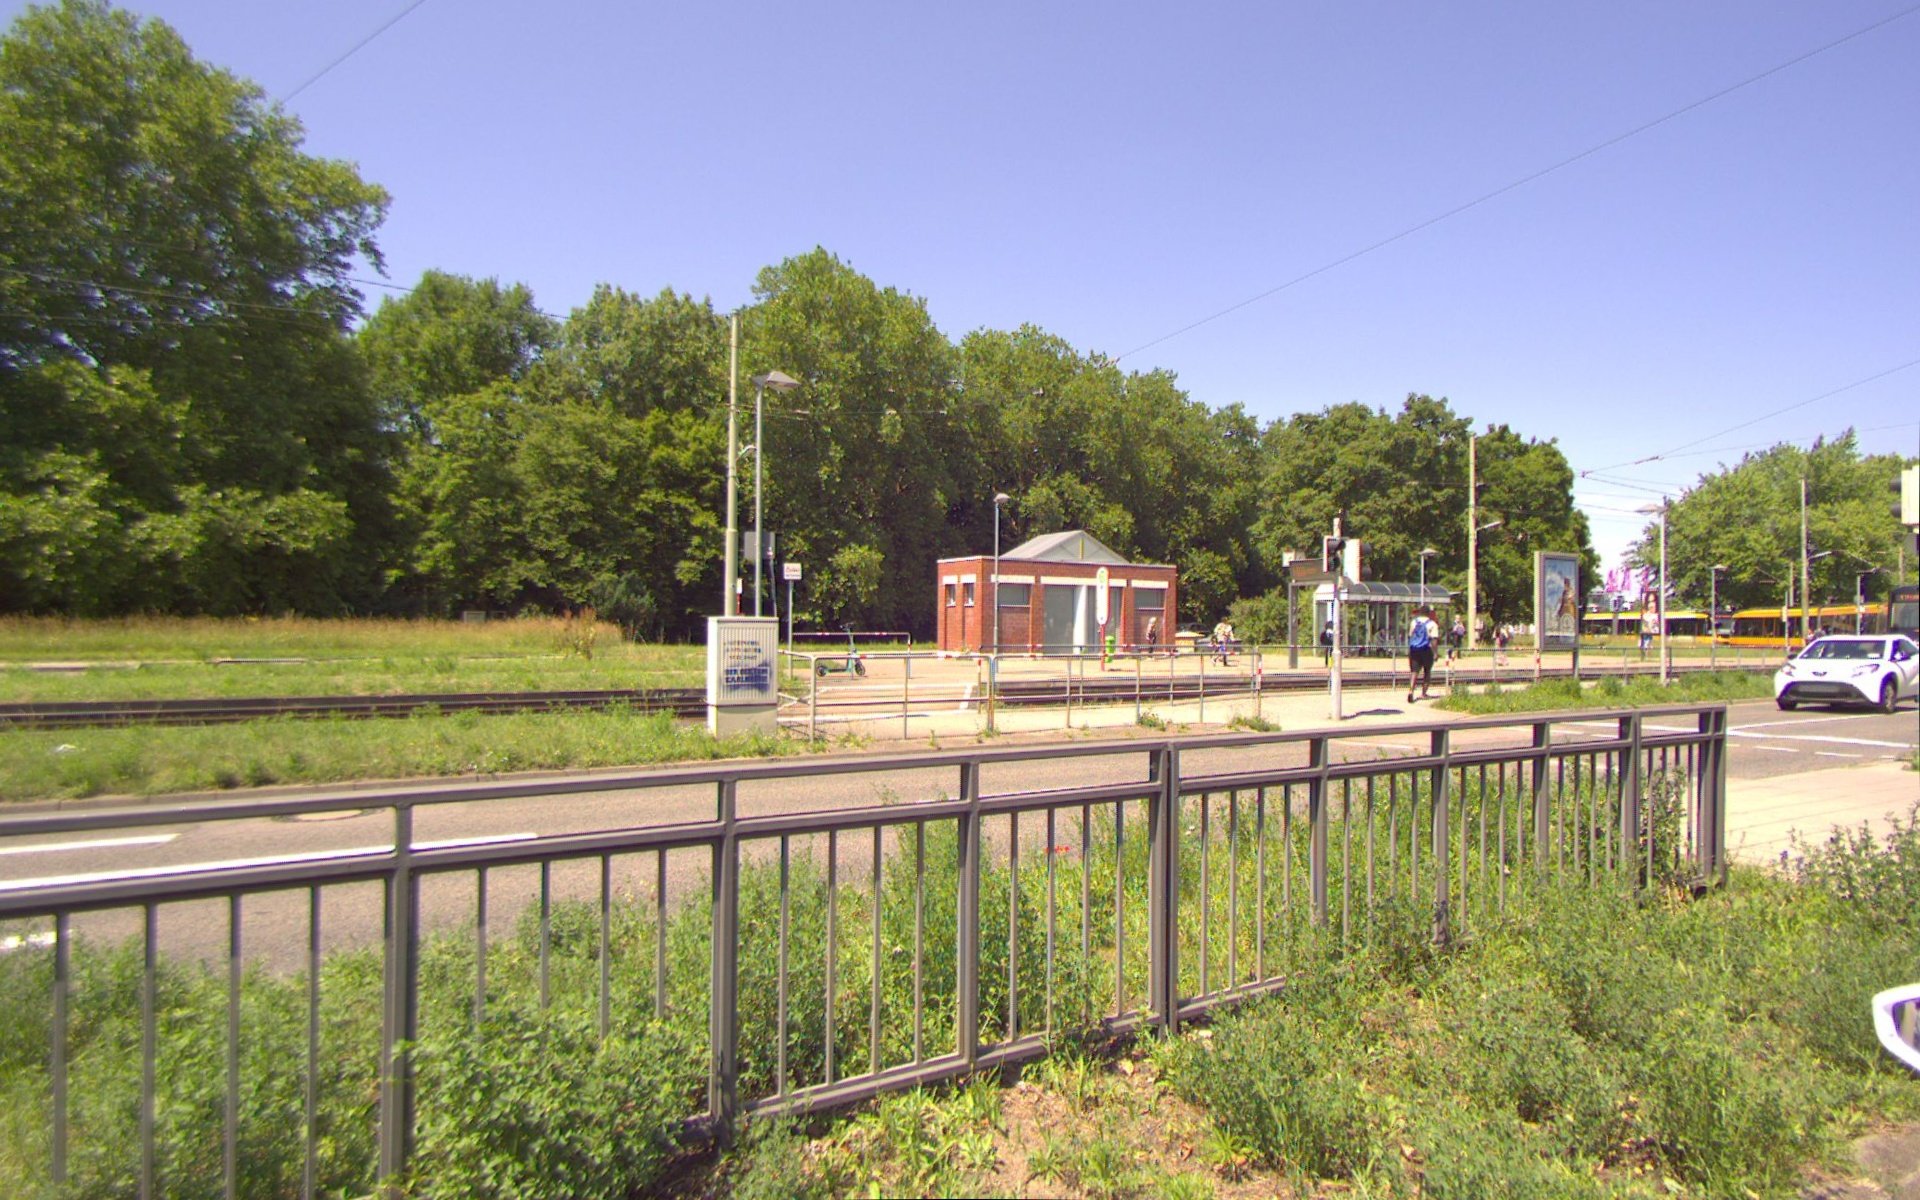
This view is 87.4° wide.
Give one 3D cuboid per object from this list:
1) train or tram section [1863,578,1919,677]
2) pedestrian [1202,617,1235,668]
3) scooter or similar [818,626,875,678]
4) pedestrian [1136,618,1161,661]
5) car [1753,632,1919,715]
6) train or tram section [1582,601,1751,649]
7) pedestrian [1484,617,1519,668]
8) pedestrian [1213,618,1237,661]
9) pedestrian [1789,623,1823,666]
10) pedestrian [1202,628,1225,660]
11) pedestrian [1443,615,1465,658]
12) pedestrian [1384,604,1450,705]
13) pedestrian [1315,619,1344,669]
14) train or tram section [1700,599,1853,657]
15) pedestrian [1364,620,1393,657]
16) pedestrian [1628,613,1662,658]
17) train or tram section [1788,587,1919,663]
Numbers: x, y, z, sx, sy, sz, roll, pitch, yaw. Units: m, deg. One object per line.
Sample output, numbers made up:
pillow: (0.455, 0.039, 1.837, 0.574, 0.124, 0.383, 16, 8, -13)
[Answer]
train or tram section: (49.719, 1.382, 46.886, 29.690, 3.799, 2.943, 1, -1, -31)
pedestrian: (8.364, 1.366, 32.490, 0.799, 1.611, 0.668, 1, -1, -30)
scooter or similar: (-2.648, 1.205, 23.442, 1.217, 1.183, 0.508, 1, -1, -30)
pedestrian: (6.574, 1.378, 35.068, 0.563, 1.499, 0.636, 1, -1, -30)
car: (18.031, 1.423, 20.388, 3.747, 1.514, 1.836, 1, -1, -30)
train or tram section: (65.265, 2.304, 93.899, 3.162, 3.984, 18.504, 1, -1, 1)
pedestrian: (20.020, 1.553, 37.148, 0.832, 1.802, 0.714, -1, 5, -30)
pedestrian: (9.299, 1.391, 35.230, 0.573, 1.476, 0.639, 1, -1, -15)
pedestrian: (40.911, 2.164, 48.558, 1.009, 2.040, 0.976, 1, -1, -30)
pedestrian: (9.160, 1.596, 36.326, 0.560, 1.139, 0.639, 1, -1, -15)
pedestrian: (20.957, 1.536, 42.658, 0.707, 1.824, 0.845, 0, -1, 17)
pedestrian: (8.654, 1.004, 19.033, 0.832, 1.802, 0.714, -1, 5, -30)
pedestrian: (11.913, 1.400, 32.372, 0.688, 1.575, 0.629, 1, -1, -42)
train or tram section: (62.433, 2.110, 77.679, 3.162, 3.984, 18.502, 0, -1, 19)
pedestrian: (17.232, 1.577, 41.367, 0.710, 1.531, 0.841, 1, -1, -19)
pedestrian: (31.869, 1.649, 46.744, 1.009, 2.040, 0.976, 1, -1, -30)
train or tram section: (55.069, 1.539, 61.339, 3.167, 3.984, 18.476, 0, -1, 27)
